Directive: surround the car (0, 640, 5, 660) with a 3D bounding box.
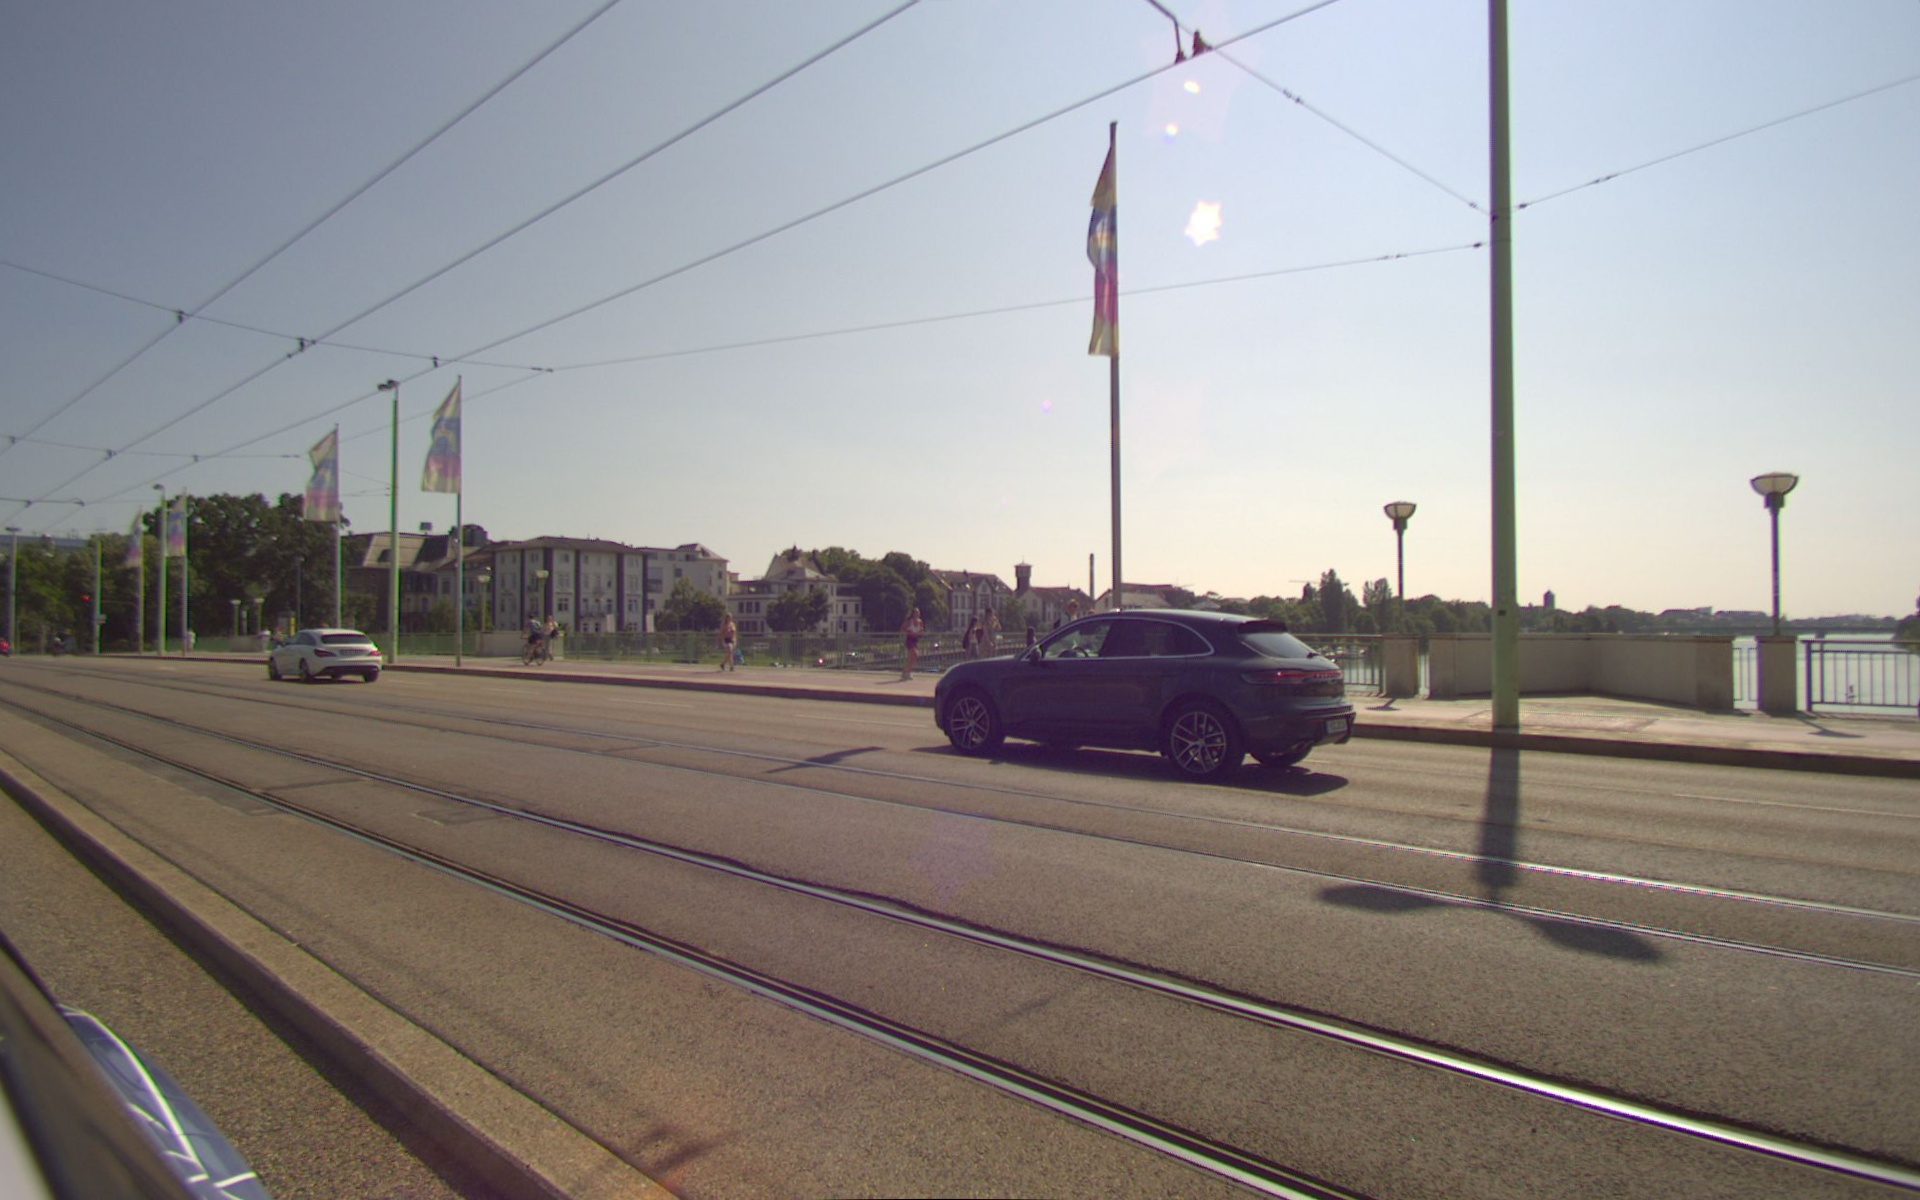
[{"bbox_3d":[-79.295,4.096,82.490,4.190,1.526,1.971,-2,-1,44],"label":"car"}]

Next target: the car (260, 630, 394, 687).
[{"bbox_3d":[-17.634,1.571,28.105,4.545,1.420,1.972,-2,-2,42],"label":"car"}]

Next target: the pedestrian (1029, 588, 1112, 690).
[{"bbox_3d":[2.278,0.801,20.900,1.293,2.029,1.086,-3,-3,38],"label":"pedestrian"}]

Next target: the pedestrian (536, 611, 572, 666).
[{"bbox_3d":[-15.398,1.464,38.361,1.041,2.029,0.890,-3,-3,38],"label":"pedestrian"}]

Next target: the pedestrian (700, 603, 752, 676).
[{"bbox_3d":[-6.681,1.123,28.901,1.099,2.029,0.960,-2,-3,36],"label":"pedestrian"}]

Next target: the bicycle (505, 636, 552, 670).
[{"bbox_3d":[-14.801,1.802,34.695,2.110,1.105,0.583,-1,-1,39],"label":"bicycle"}]

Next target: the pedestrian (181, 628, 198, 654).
[{"bbox_3d":[-55.675,2.972,73.120,0.974,1.867,0.731,-3,0,38],"label":"pedestrian"}]

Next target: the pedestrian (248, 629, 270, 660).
[{"bbox_3d":[-41.828,2.647,60.394,0.956,1.798,0.731,-3,0,38],"label":"pedestrian"}]

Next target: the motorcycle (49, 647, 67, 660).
[{"bbox_3d":[-77.035,4.543,86.403,1.950,1.033,0.836,-2,-1,40],"label":"motorcycle"}]

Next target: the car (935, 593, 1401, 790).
[{"bbox_3d":[2.003,0.855,10.505,4.335,1.612,1.973,-2,-4,41],"label":"car"}]

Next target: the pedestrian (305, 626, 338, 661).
[{"bbox_3d":[-32.792,2.211,51.987,1.293,1.772,1.086,-3,-3,38],"label":"pedestrian"}]

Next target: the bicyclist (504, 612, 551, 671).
[{"bbox_3d":[-14.828,1.402,34.663,1.128,1.976,1.087,-3,-3,38],"label":"bicyclist"}]

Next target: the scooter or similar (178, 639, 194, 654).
[{"bbox_3d":[-56.369,3.403,73.697,0.831,1.037,0.732,-3,0,38],"label":"scooter or similar"}]

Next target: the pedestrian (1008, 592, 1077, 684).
[{"bbox_3d":[1.894,0.875,23.269,1.128,2.029,1.087,-3,-3,38],"label":"pedestrian"}]

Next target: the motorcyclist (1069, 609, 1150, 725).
[{"bbox_3d":[2.150,0.940,14.537,0.831,1.586,0.819,-2,-2,40],"label":"motorcyclist"}]

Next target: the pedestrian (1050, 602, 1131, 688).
[{"bbox_3d":[2.766,0.946,21.437,1.293,1.742,1.086,-3,-3,38],"label":"pedestrian"}]

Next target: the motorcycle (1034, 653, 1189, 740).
[{"bbox_3d":[2.149,1.346,14.575,2.177,1.118,0.694,-2,-2,41],"label":"motorcycle"}]

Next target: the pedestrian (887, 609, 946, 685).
[{"bbox_3d":[-1.029,1.099,23.920,1.174,1.735,0.747,-1,-1,39],"label":"pedestrian"}]

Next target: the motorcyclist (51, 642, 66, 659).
[{"bbox_3d":[-76.954,4.300,86.377,0.897,1.412,0.836,-2,-1,38],"label":"motorcyclist"}]

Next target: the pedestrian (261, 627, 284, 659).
[{"bbox_3d":[-41.459,2.620,61.029,1.120,1.863,0.731,-3,0,39],"label":"pedestrian"}]

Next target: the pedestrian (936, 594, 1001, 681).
[{"bbox_3d":[0.204,0.897,24.458,1.127,2.029,1.087,-3,-3,38],"label":"pedestrian"}]
